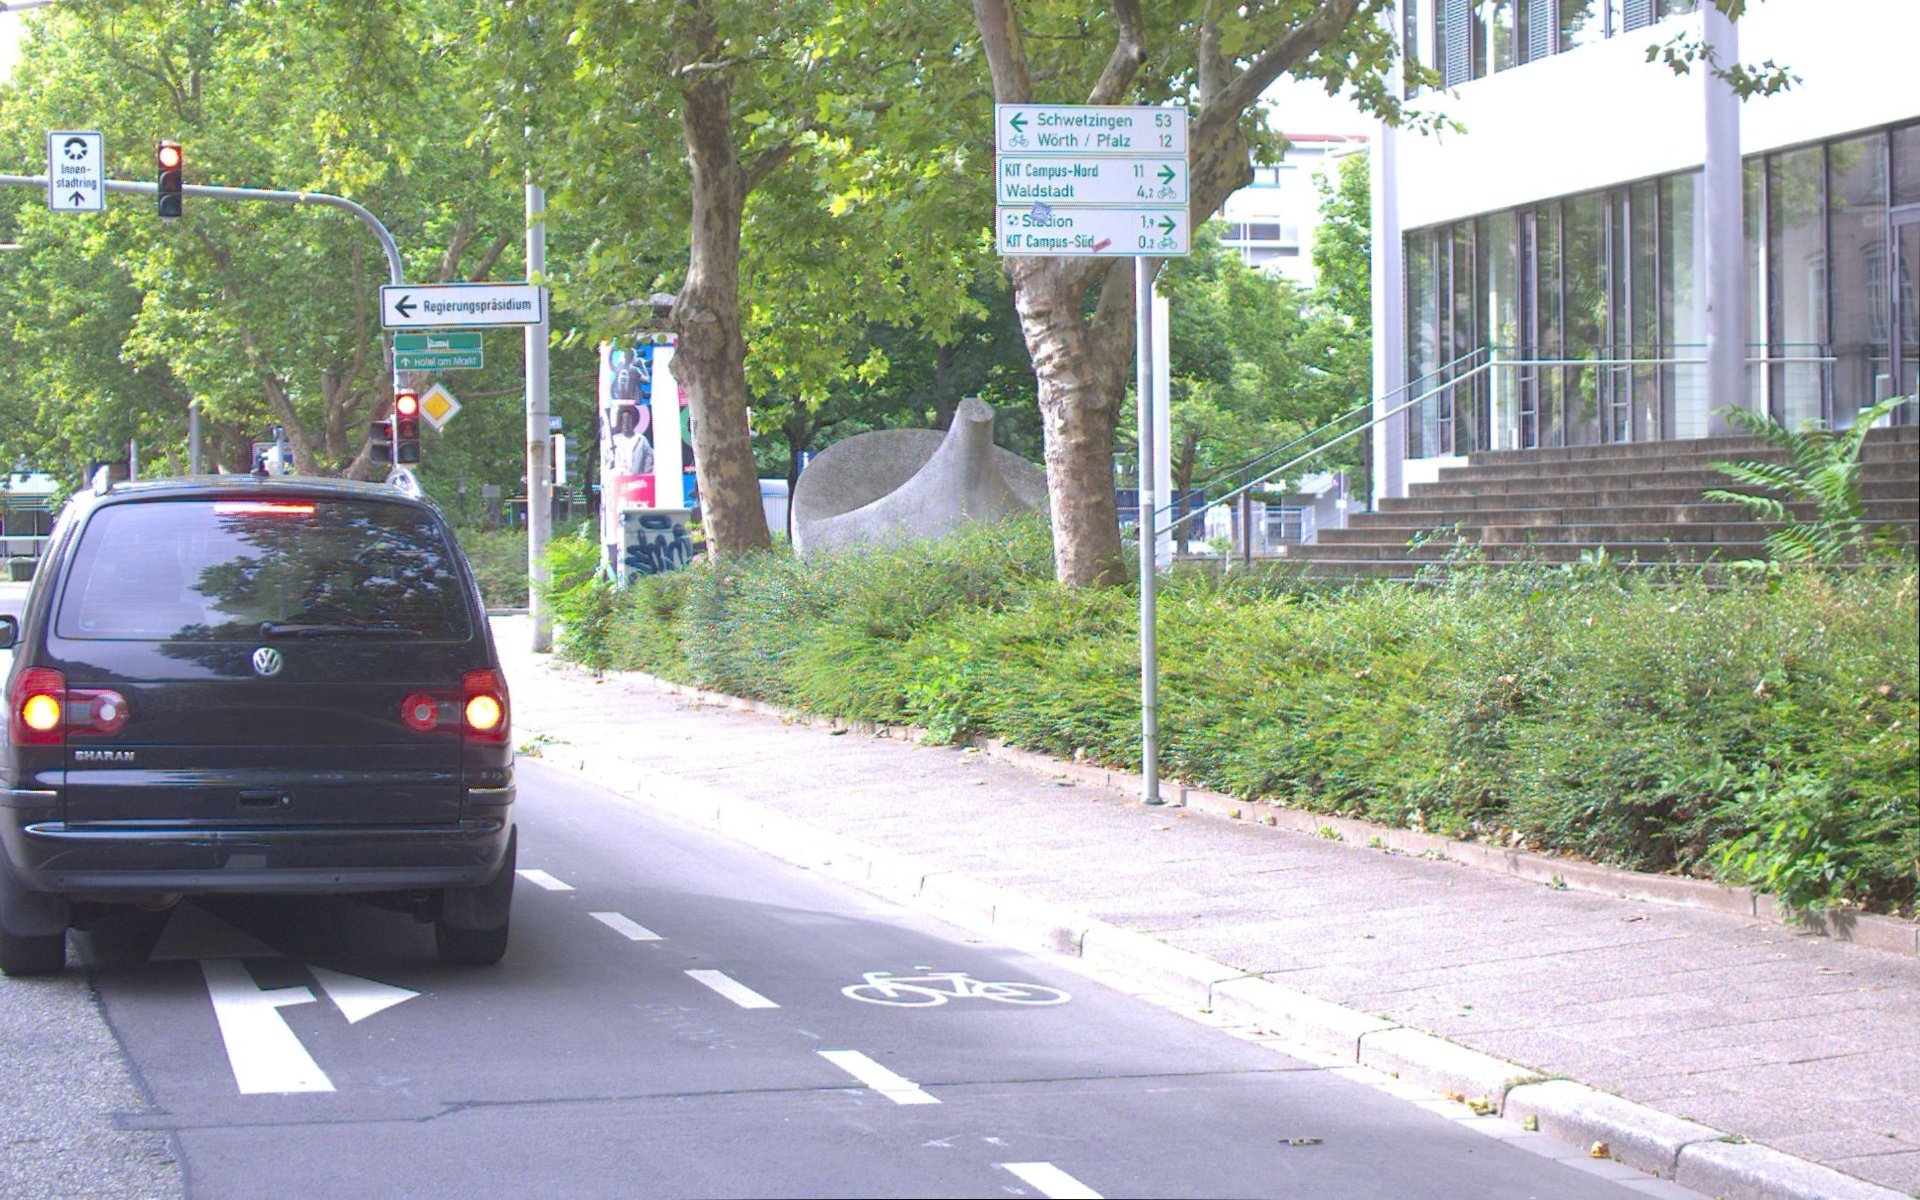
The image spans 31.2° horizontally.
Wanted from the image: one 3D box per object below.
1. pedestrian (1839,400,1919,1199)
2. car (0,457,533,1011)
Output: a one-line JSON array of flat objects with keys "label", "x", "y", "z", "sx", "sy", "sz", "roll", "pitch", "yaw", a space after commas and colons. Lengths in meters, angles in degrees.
[{"label": "pedestrian", "x": 2.534, "y": 0.434, "z": 7.463, "sx": 0.710, "sy": 1.777, "sz": 1.034, "roll": -3, "pitch": 1, "yaw": -17}, {"label": "car", "x": -2.752, "y": 0.366, "z": 13.204, "sx": 1.873, "sy": 1.739, "sz": 4.575, "roll": -1, "pitch": 1, "yaw": -11}]
